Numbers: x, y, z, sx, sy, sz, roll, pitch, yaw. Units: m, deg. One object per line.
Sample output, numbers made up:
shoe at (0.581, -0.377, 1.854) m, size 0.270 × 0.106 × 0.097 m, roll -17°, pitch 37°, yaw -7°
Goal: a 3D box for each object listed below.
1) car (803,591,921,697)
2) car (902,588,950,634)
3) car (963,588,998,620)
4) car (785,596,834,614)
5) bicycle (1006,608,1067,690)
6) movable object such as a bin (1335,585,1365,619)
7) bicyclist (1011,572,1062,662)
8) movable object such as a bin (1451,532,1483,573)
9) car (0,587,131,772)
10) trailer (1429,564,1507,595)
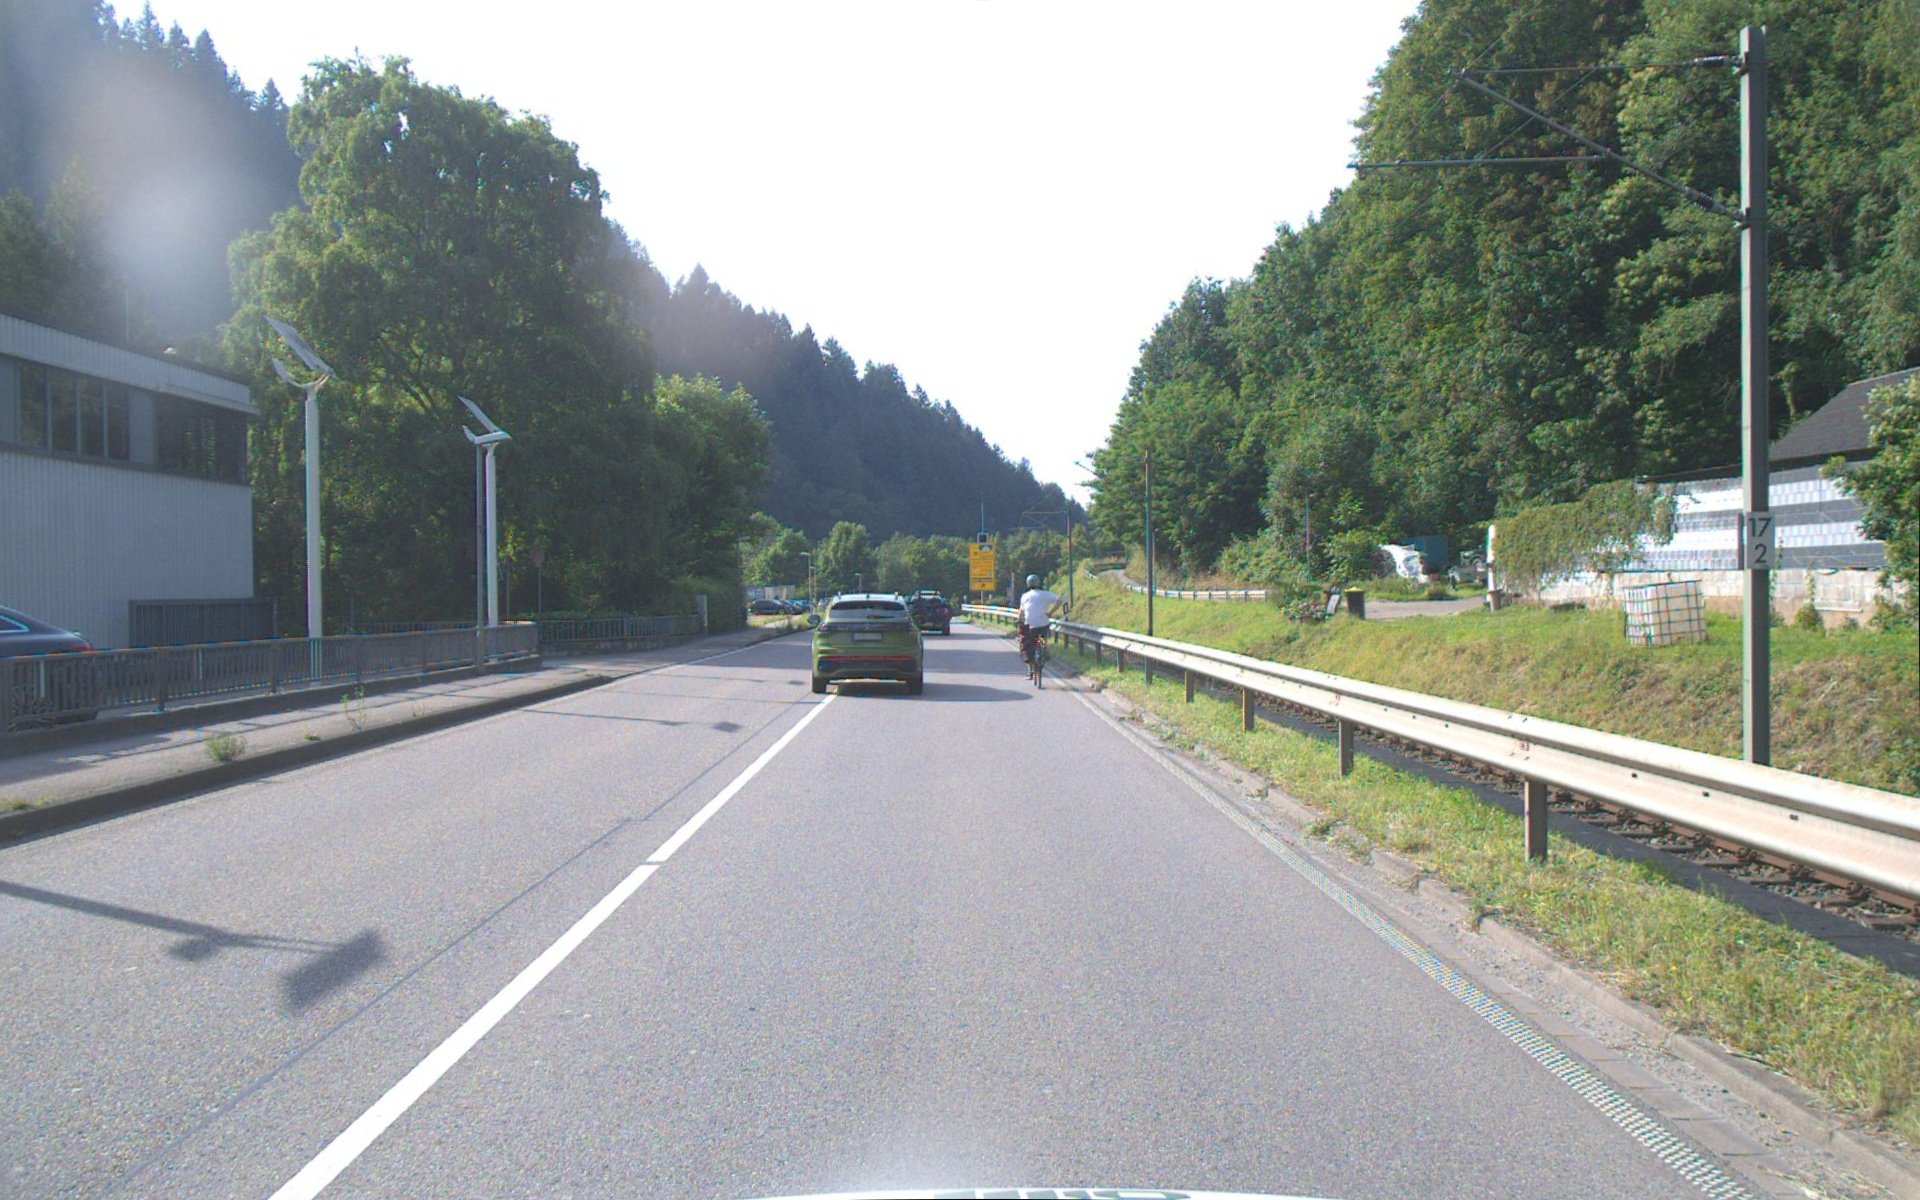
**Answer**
car at (-1.476, 0.631, 26.056) m, size 1.704 × 1.534 × 3.999 m, roll 0°, pitch 0°, yaw -2°
car at (-1.265, 0.390, 61.284) m, size 1.704 × 1.630 × 3.999 m, roll 0°, pitch 0°, yaw -2°
car at (1.075, 0.208, 87.231) m, size 1.704 × 1.630 × 3.999 m, roll 0°, pitch 0°, yaw -2°
car at (-13.224, 0.440, 145.207) m, size 4.171 × 1.458 × 1.557 m, roll -1°, pitch 0°, yaw 0°
bicycle at (1.239, 0.774, 27.226) m, size 0.795 × 1.272 × 2.122 m, roll -1°, pitch 0°, yaw -3°
movable object such as a bin at (13.094, 0.072, 55.563) m, size 0.837 × 1.127 × 0.935 m, roll -1°, pitch 0°, yaw 5°
bicyclist at (1.248, 0.272, 27.067) m, size 0.766 × 1.436 × 0.675 m, roll -1°, pitch 0°, yaw -3°
movable object such as a bin at (23.434, -2.179, 76.517) m, size 0.849 × 1.833 × 1.797 m, roll -1°, pitch 0°, yaw -3°
car at (-9.602, 0.685, 13.606) m, size 1.953 × 1.589 × 4.850 m, roll 0°, pitch 0°, yaw 24°
trailer at (21.401, -0.846, 69.758) m, size 2.025 × 1.213 × 3.712 m, roll 0°, pitch 0°, yaw -3°
